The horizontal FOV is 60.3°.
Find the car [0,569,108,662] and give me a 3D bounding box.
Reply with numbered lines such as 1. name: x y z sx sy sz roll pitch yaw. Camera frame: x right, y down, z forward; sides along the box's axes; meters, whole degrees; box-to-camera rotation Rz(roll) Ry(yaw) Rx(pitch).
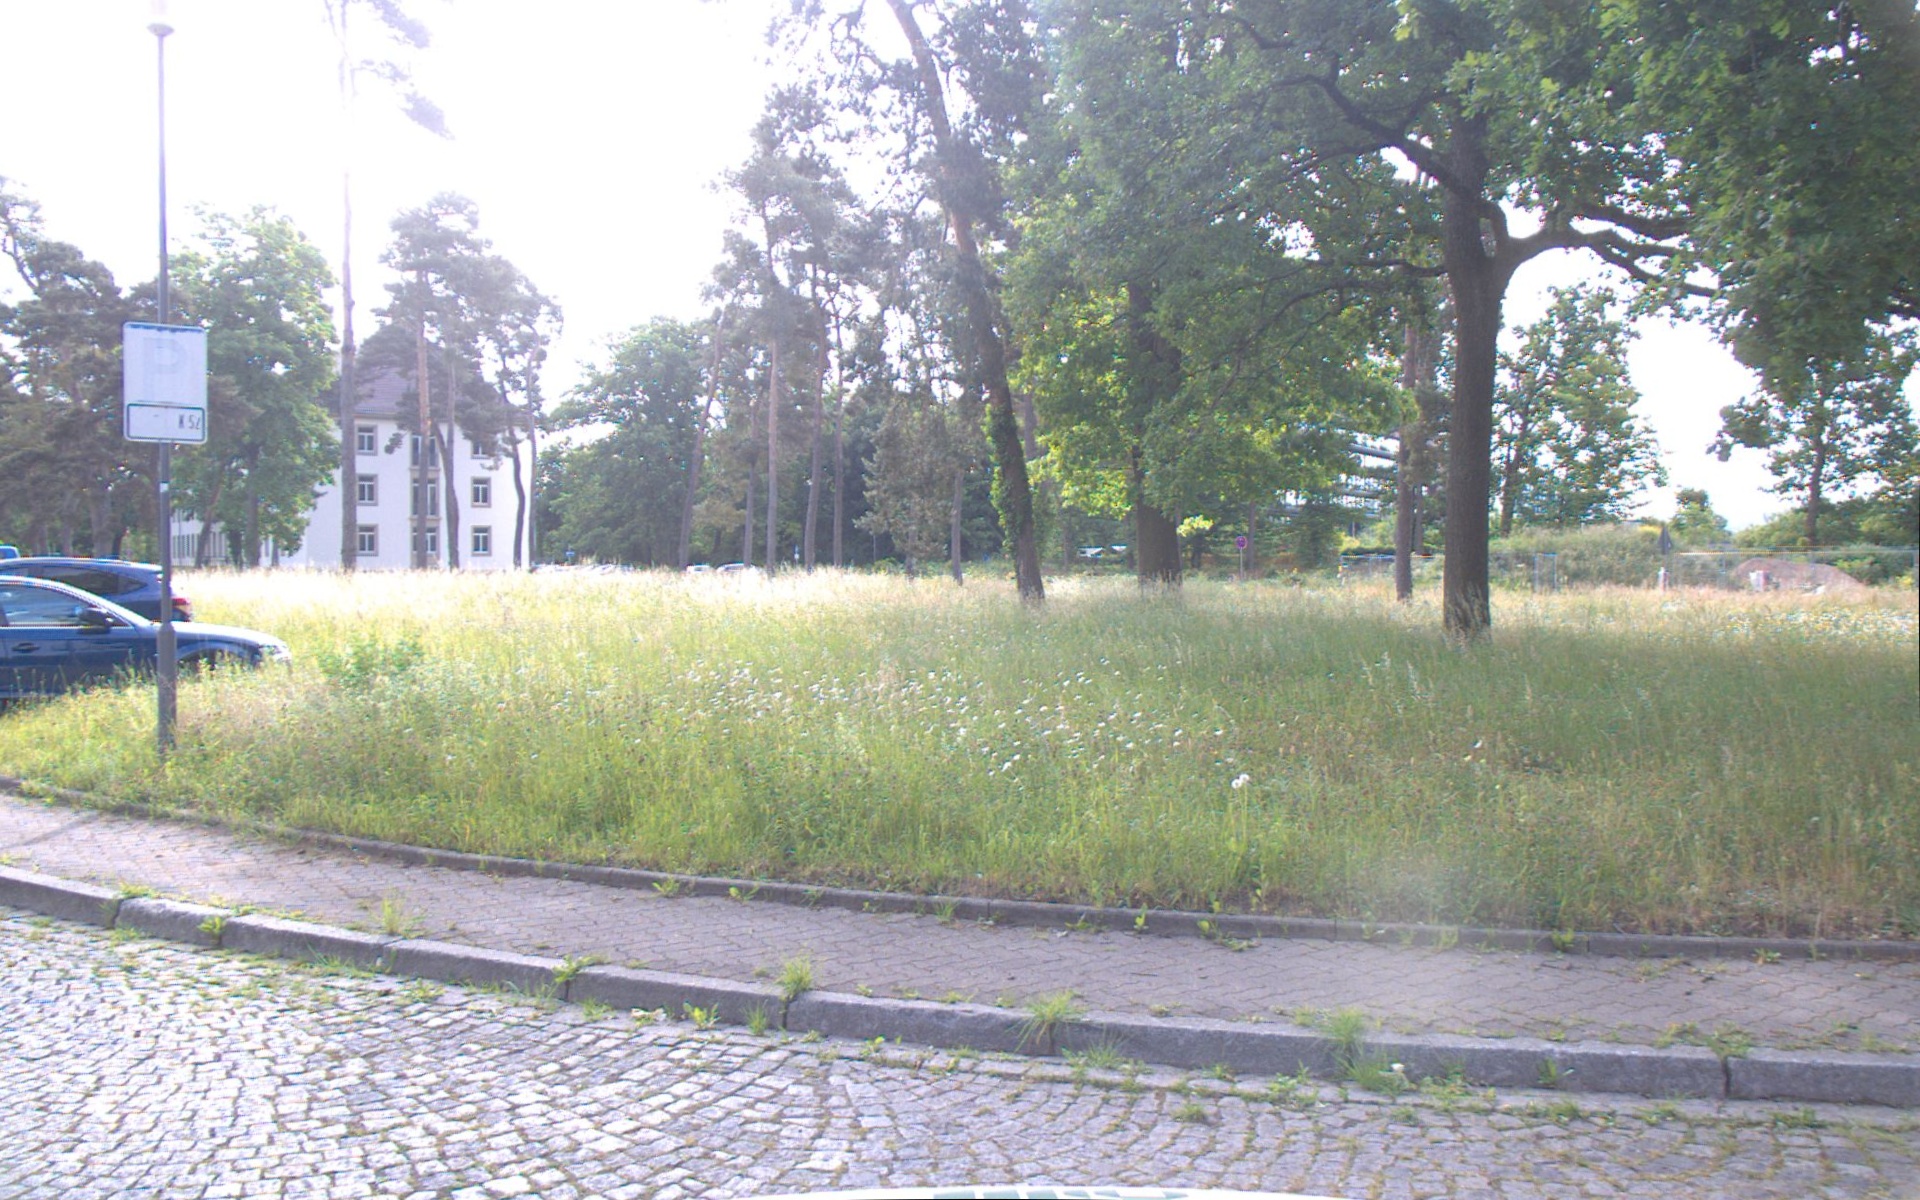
1. car: -16.632 0.273 27.882 3.851 1.504 1.651 -2 2 -35

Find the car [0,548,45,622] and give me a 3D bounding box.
1. car: -27.072 -0.311 43.714 4.784 1.897 2.135 -5 4 -36

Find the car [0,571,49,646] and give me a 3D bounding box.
1. car: -22.311 0.182 36.280 3.876 1.631 1.797 -1 1 -37

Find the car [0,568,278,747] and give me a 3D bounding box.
1. car: -8.671 0.505 15.023 4.386 1.505 1.665 -2 2 -31

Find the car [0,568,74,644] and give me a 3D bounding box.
1. car: -20.691 0.145 34.323 3.906 1.546 1.687 -2 1 -34

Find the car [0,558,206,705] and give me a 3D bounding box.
1. car: -11.130 0.342 19.167 4.104 1.600 1.768 -2 3 -35

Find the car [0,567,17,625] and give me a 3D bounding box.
1. car: -25.897 0.005 41.279 3.890 1.416 1.721 -5 4 -36
